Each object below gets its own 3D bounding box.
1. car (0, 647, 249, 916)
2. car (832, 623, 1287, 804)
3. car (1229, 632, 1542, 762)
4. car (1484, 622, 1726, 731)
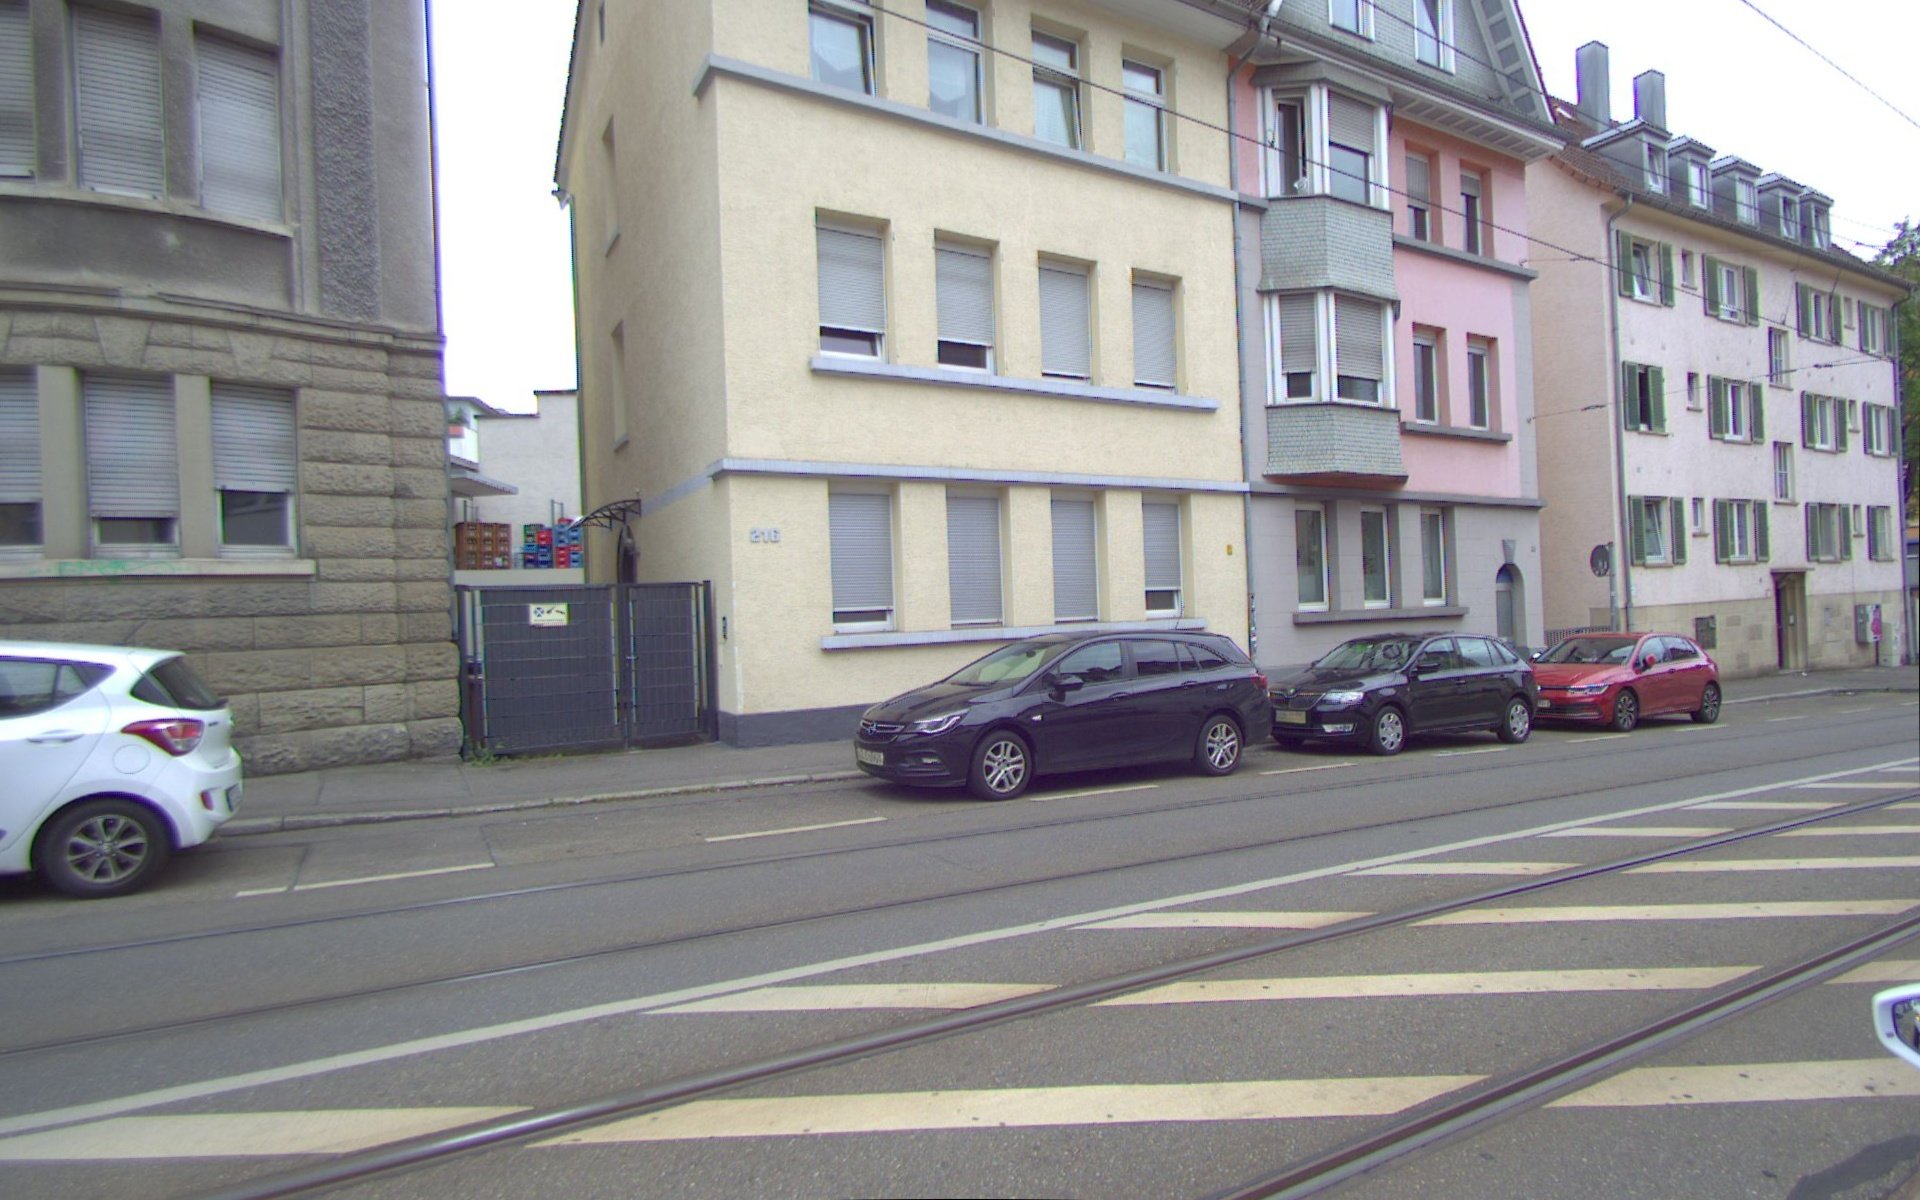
[{"bbox_3d":[-6.472,1.024,5.834,3.641,1.482,1.613,1,-3,-30],"label":"car"},{"bbox_3d":[1.097,1.022,10.159,4.502,1.493,1.613,1,-3,-30],"label":"car"},{"bbox_3d":[5.543,1.139,13.002,3.953,1.428,1.728,1,-2,-30],"label":"car"},{"bbox_3d":[10.123,1.147,15.711,4.002,1.509,1.612,2,-3,-32],"label":"car"}]
